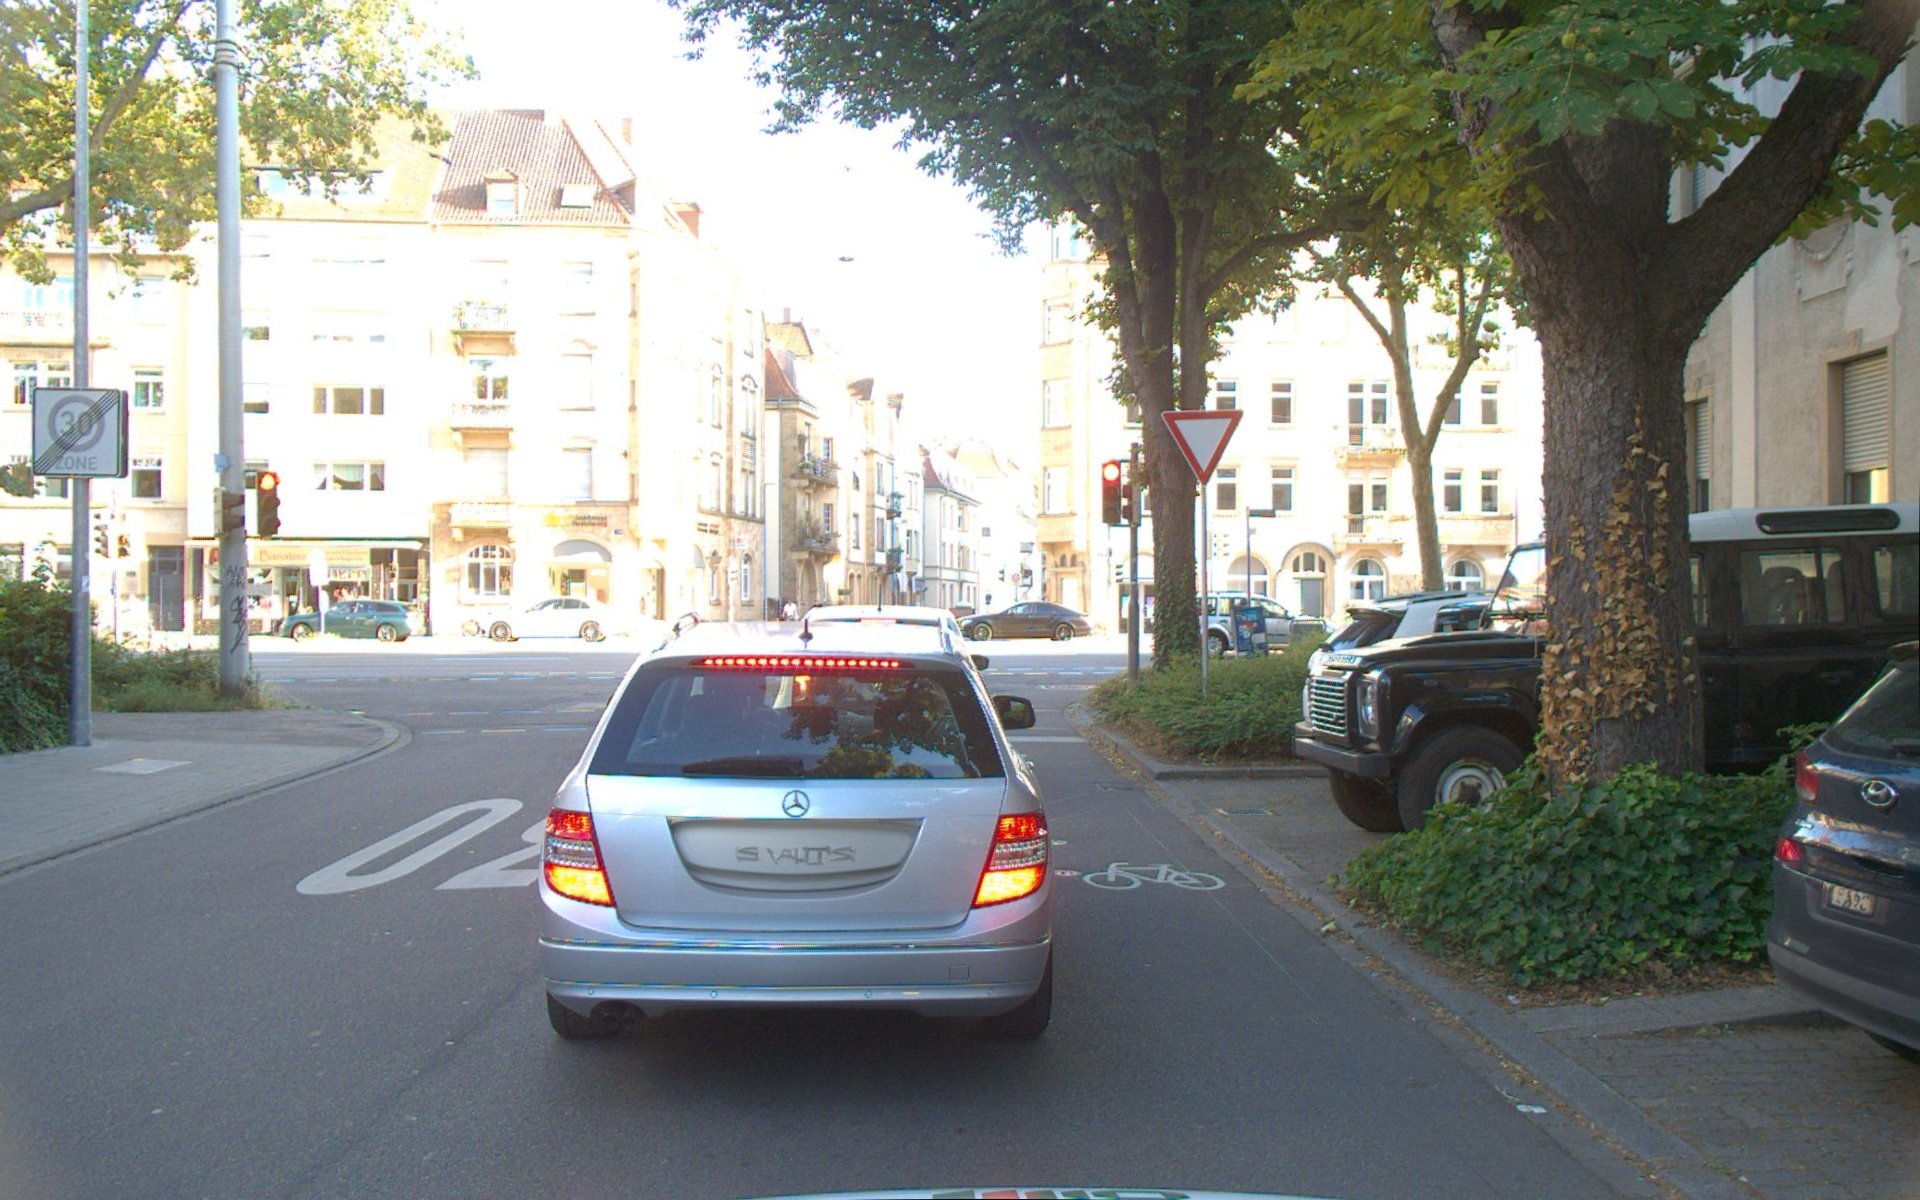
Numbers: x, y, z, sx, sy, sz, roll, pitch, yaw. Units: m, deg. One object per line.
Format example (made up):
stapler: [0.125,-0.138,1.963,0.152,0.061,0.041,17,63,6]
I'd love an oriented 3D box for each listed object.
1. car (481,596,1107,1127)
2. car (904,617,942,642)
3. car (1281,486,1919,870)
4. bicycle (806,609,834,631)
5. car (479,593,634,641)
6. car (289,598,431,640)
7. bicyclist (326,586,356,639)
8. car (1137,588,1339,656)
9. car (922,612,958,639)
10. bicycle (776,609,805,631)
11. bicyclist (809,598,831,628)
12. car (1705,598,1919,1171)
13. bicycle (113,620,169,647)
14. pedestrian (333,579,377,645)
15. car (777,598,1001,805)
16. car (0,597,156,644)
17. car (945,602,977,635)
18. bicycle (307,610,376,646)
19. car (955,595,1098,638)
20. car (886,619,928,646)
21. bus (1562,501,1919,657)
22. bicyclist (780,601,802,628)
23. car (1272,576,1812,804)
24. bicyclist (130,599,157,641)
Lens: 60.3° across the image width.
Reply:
car: [-0.553,0.739,6.931,1.741,1.477,4.546,1,0,-2]
car: [-2.275,1.838,102.458,1.796,1.427,4.003,0,1,7]
car: [4.367,0.414,10.172,4.377,2.072,1.699,-1,0,-4]
bicycle: [-6.211,0.893,73.355,0.754,0.950,1.942,1,0,10]
car: [-12.847,0.520,52.906,4.613,1.486,1.834,0,0,-7]
car: [-19.892,0.610,54.994,4.140,1.372,1.662,0,0,-7]
bicyclist: [-22.311,0.455,59.624,0.874,1.892,0.636,0,0,-5]
car: [6.330,0.484,37.848,4.263,1.523,1.659,0,0,-7]
car: [-1.271,1.650,108.706,1.796,1.692,4.003,0,1,7]
bicycle: [-7.507,0.878,73.247,0.754,0.956,1.942,1,0,10]
bicyclist: [-6.209,0.594,73.356,0.754,1.312,0.753,1,0,10]
car: [4.282,0.703,4.593,3.650,1.477,1.707,-1,0,-4]
bicycle: [-27.942,1.137,56.447,1.586,0.892,0.636,0,0,-6]
pedestrian: [-23.178,0.451,63.416,1.320,2.507,1.059,0,0,-5]
car: [-0.593,0.730,14.020,1.587,1.472,4.342,1,0,-2]
car: [-26.935,0.620,50.497,3.956,1.384,1.661,0,0,-7]
car: [0.081,1.299,117.321,1.749,2.242,4.003,0,1,7]
bicycle: [-22.281,0.999,59.623,2.212,1.268,0.636,0,0,-5]
car: [2.272,0.555,57.330,4.788,1.477,1.857,0,0,-5]
car: [-3.074,1.886,96.954,1.796,1.427,4.003,0,1,7]
bus: [17.780,-0.473,36.567,8.024,3.257,2.906,0,0,-9]
bicyclist: [-7.489,0.652,73.326,0.754,1.177,0.753,1,0,10]
car: [4.508,0.662,13.139,3.650,1.597,1.707,-1,0,-4]
bicyclist: [-27.875,0.676,56.452,0.631,1.451,0.636,0,0,-6]
